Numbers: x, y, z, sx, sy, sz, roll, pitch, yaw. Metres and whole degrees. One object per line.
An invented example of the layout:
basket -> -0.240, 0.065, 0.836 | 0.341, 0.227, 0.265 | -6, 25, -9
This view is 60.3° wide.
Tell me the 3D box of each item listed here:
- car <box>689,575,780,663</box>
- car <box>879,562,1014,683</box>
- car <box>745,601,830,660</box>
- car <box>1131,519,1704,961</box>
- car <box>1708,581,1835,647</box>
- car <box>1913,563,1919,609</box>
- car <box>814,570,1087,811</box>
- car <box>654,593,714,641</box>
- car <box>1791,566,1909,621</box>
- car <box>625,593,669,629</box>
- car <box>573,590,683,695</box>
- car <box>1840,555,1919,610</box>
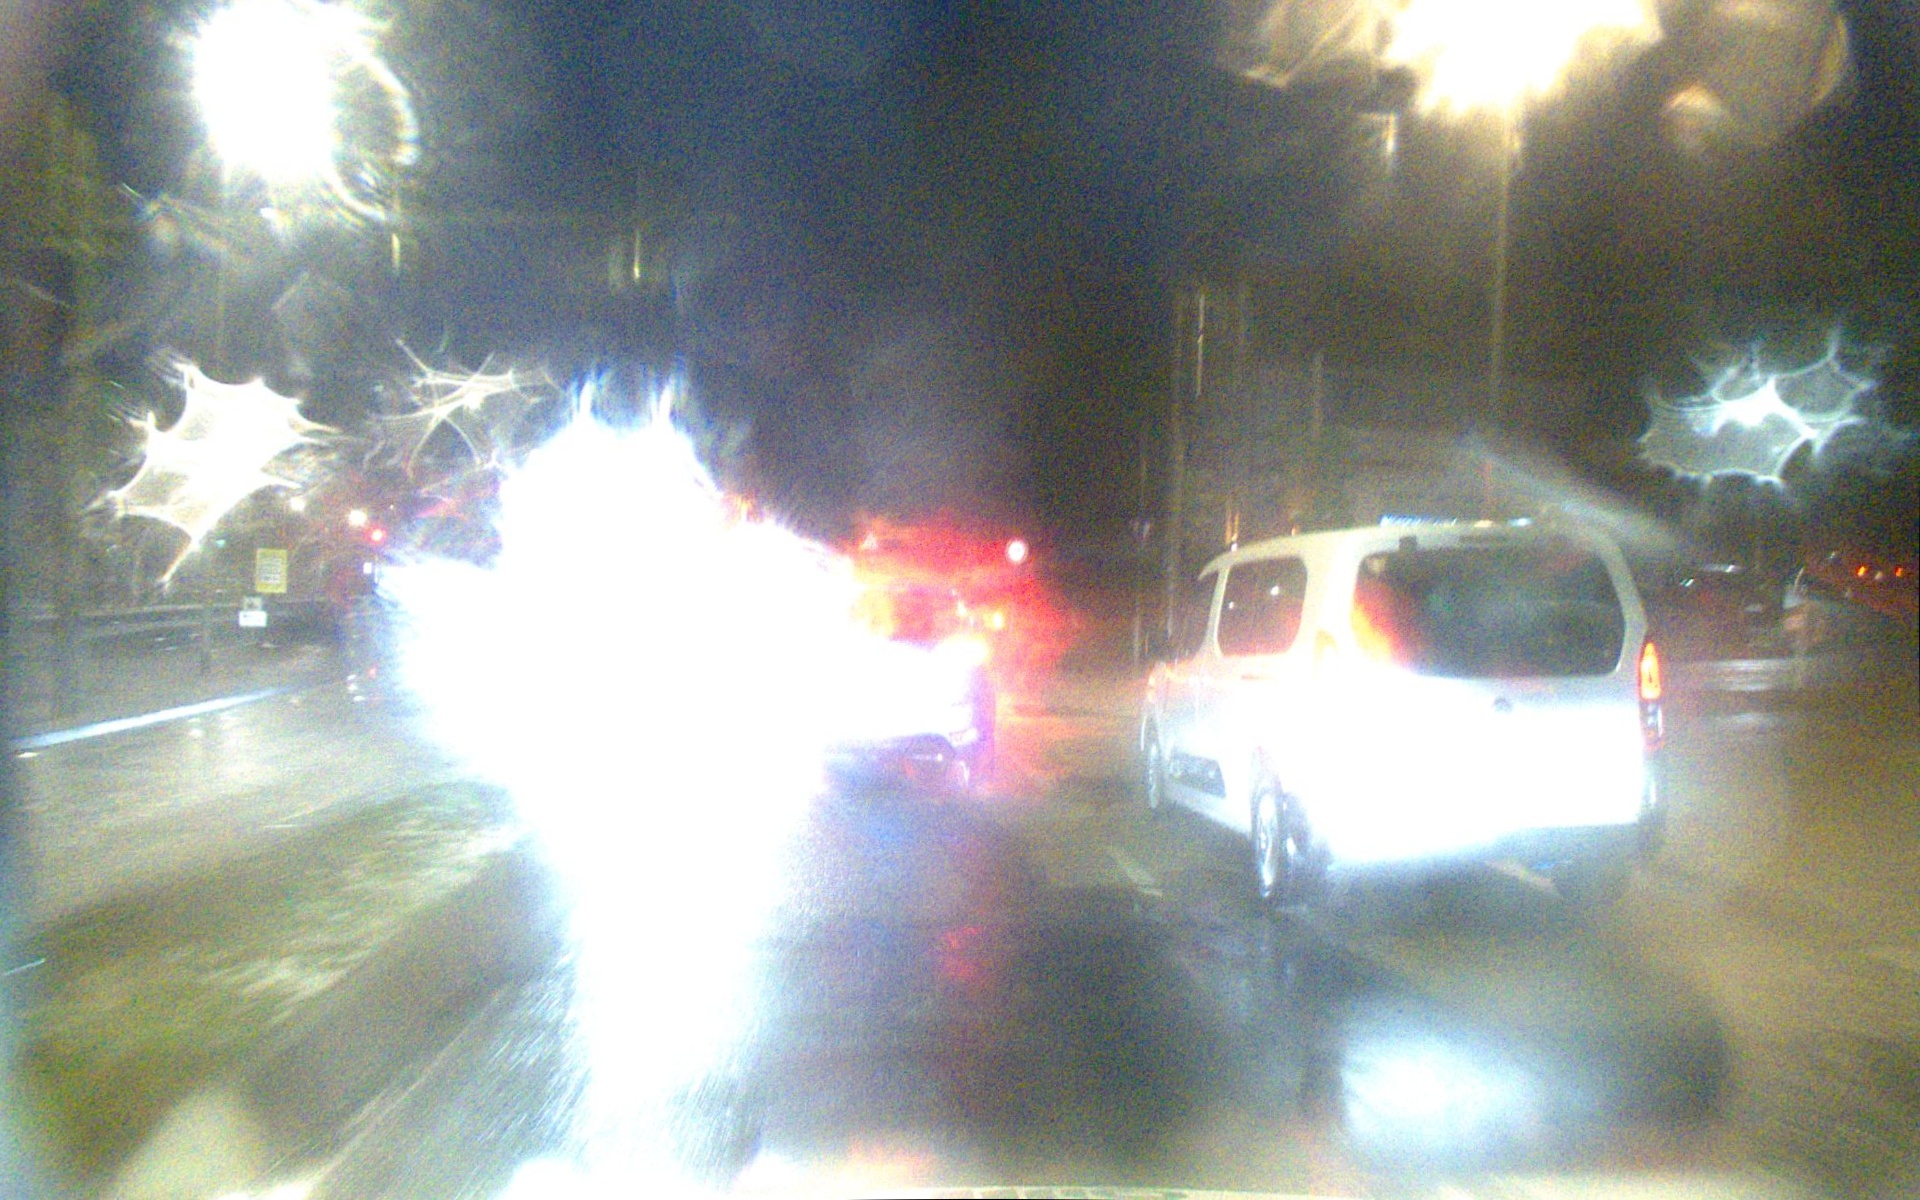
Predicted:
car -> -5.714, 0.452, 41.645 | 1.958, 2.049, 3.988 | 2, 0, -12
car -> -0.330, 0.396, 31.189 | 1.932, 2.082, 3.992 | 2, 0, -9
car -> -5.519, 0.929, 52.435 | 1.962, 1.748, 3.982 | 2, 0, -17
car -> 2.245, 0.625, 9.428 | 1.815, 1.897, 4.337 | 2, 0, -3
car -> 21.971, 0.375, 44.946 | 1.825, 1.675, 3.966 | -1, 0, 6
car -> 37.845, -0.473, 61.312 | 3.902, 1.736, 2.001 | 2, 0, 13
car -> -0.254, 0.683, 14.541 | 1.975, 1.747, 4.446 | 2, 0, -5
car -> -10.740, 0.632, 64.162 | 1.960, 1.763, 3.985 | 2, 0, -14
car -> 29.503, -0.199, 54.957 | 1.736, 1.698, 4.070 | 2, 0, 1
car -> -16.216, 0.548, 85.523 | 1.960, 1.763, 3.985 | 2, 0, -14
car -> -6.689, 0.793, 33.140 | 1.979, 1.920, 4.438 | 2, 0, -13
car -> 36.685, -0.661, 64.291 | 3.902, 2.049, 2.002 | 2, 0, 11
